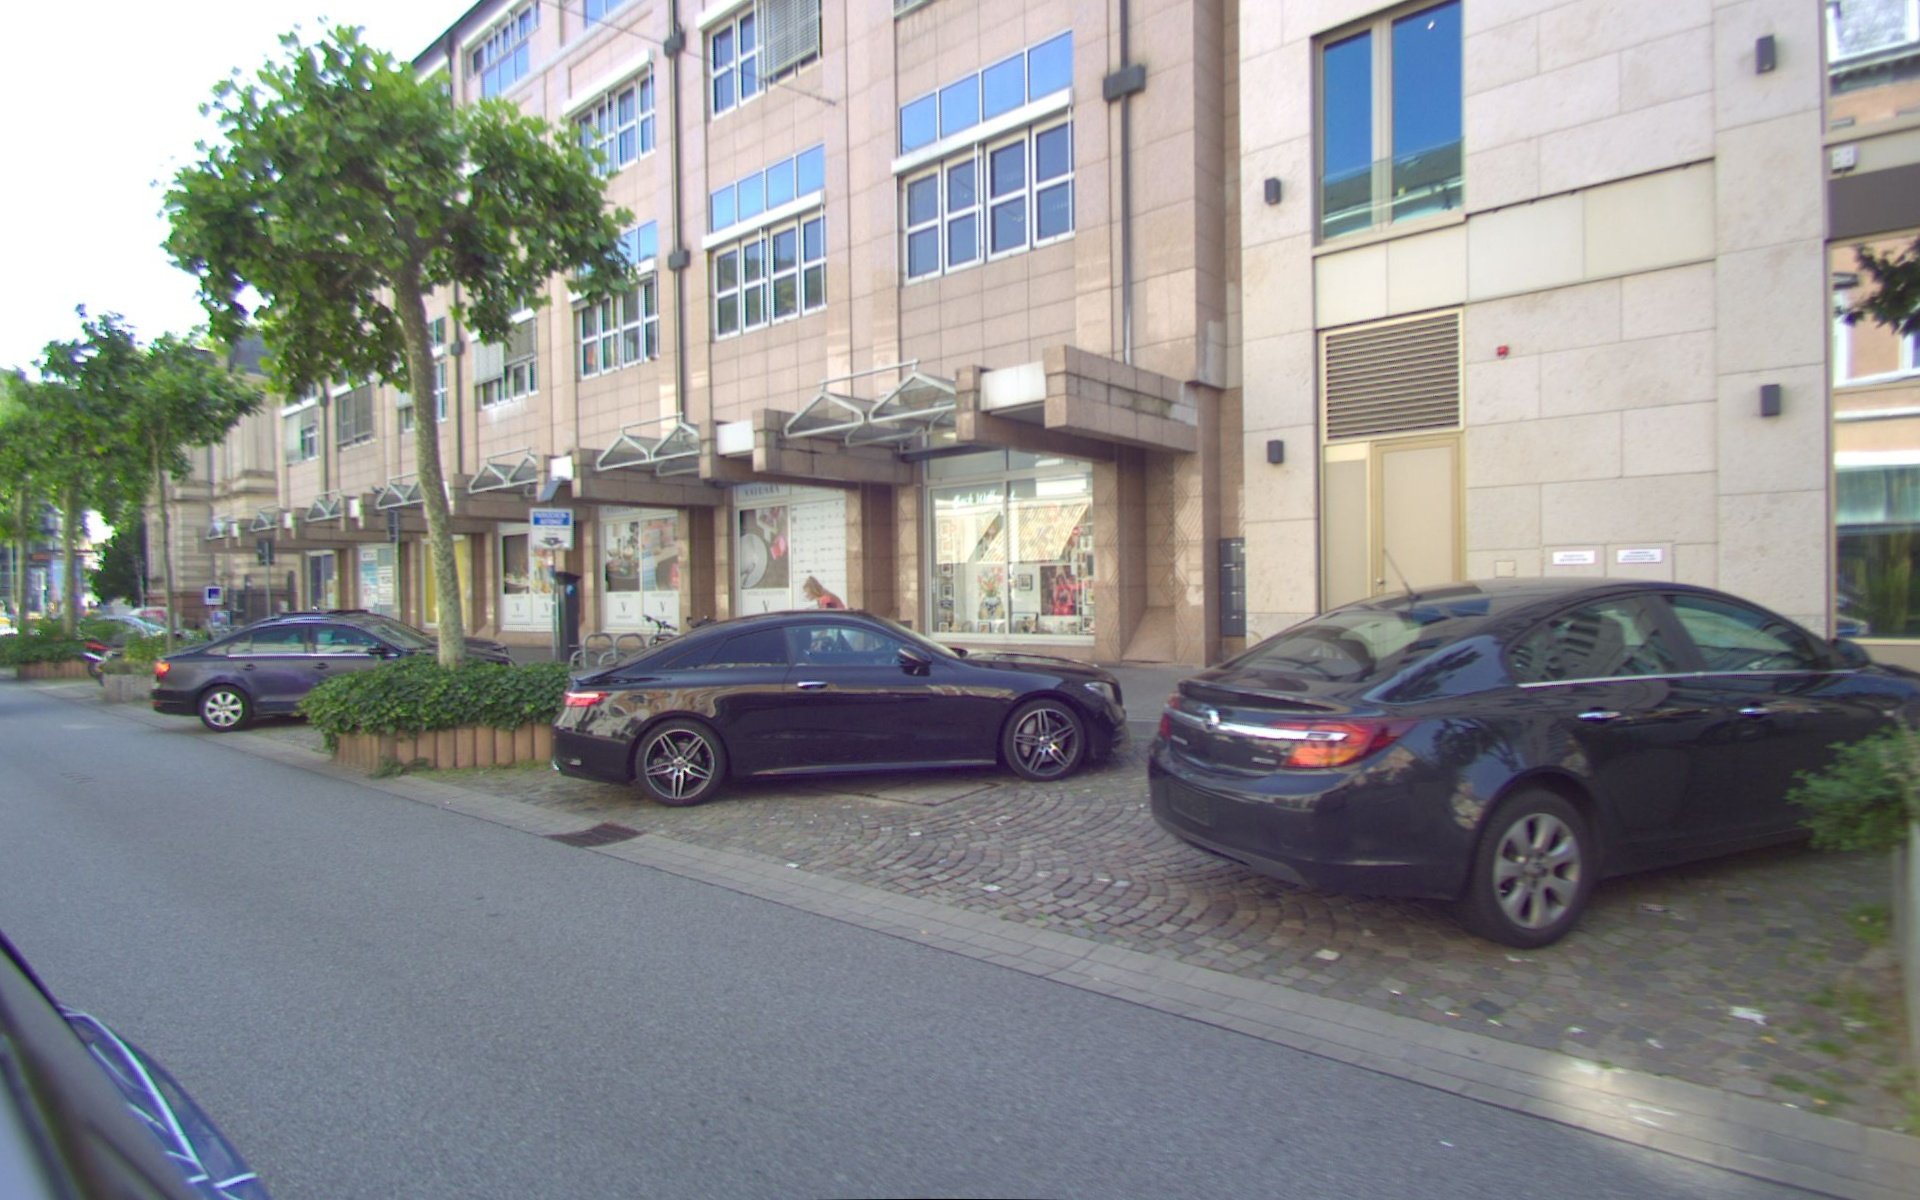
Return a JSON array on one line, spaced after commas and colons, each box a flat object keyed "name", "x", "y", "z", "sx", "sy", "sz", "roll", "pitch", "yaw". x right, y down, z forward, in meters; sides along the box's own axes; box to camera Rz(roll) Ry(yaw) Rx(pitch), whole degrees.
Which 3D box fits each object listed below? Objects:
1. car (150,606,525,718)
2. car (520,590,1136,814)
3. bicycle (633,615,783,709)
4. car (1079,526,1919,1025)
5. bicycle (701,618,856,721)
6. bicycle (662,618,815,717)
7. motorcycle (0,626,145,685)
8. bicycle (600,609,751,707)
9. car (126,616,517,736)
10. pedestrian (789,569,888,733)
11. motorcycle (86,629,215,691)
[{"name": "car", "x": -10.247, "y": 0.979, "z": 17.054, "sx": 5.051, "sy": 1.645, "sz": 1.847, "roll": -1, "pitch": -1, "yaw": -10}, {"name": "car", "x": -1.019, "y": 0.752, "z": 8.482, "sx": 4.551, "sy": 1.457, "sz": 1.735, "roll": -2, "pitch": 0, "yaw": -5}, {"name": "bicycle", "x": -3.257, "y": 0.770, "z": 13.244, "sx": 0.476, "sy": 1.110, "sz": 1.975, "roll": -2, "pitch": -1, "yaw": 42}, {"name": "car", "x": 3.057, "y": 0.535, "z": 5.116, "sx": 4.455, "sy": 1.515, "sz": 1.798, "roll": -5, "pitch": 4, "yaw": -19}, {"name": "bicycle", "x": -2.151, "y": 0.796, "z": 12.229, "sx": 0.467, "sy": 1.110, "sz": 1.975, "roll": -2, "pitch": -1, "yaw": 41}, {"name": "bicycle", "x": -2.723, "y": 0.804, "z": 12.650, "sx": 0.476, "sy": 1.110, "sz": 1.975, "roll": -2, "pitch": -1, "yaw": 41}, {"name": "motorcycle", "x": -22.282, "y": 1.374, "z": 25.265, "sx": 3.058, "sy": 1.361, "sz": 0.979, "roll": -1, "pitch": -1, "yaw": -2}, {"name": "bicycle", "x": -3.806, "y": 0.749, "z": 13.697, "sx": 0.476, "sy": 1.110, "sz": 1.975, "roll": -2, "pitch": 2, "yaw": 42}, {"name": "car", "x": -8.867, "y": 1.021, "z": 14.440, "sx": 4.333, "sy": 1.457, "sz": 1.890, "roll": -1, "pitch": -1, "yaw": -10}, {"name": "pedestrian", "x": -1.473, "y": 0.593, "z": 12.277, "sx": 0.844, "sy": 1.893, "sz": 0.829, "roll": -1, "pitch": -1, "yaw": 41}, {"name": "motorcycle", "x": -18.149, "y": 1.326, "z": 22.744, "sx": 2.028, "sy": 1.299, "sz": 0.981, "roll": -1, "pitch": -1, "yaw": -11}]
